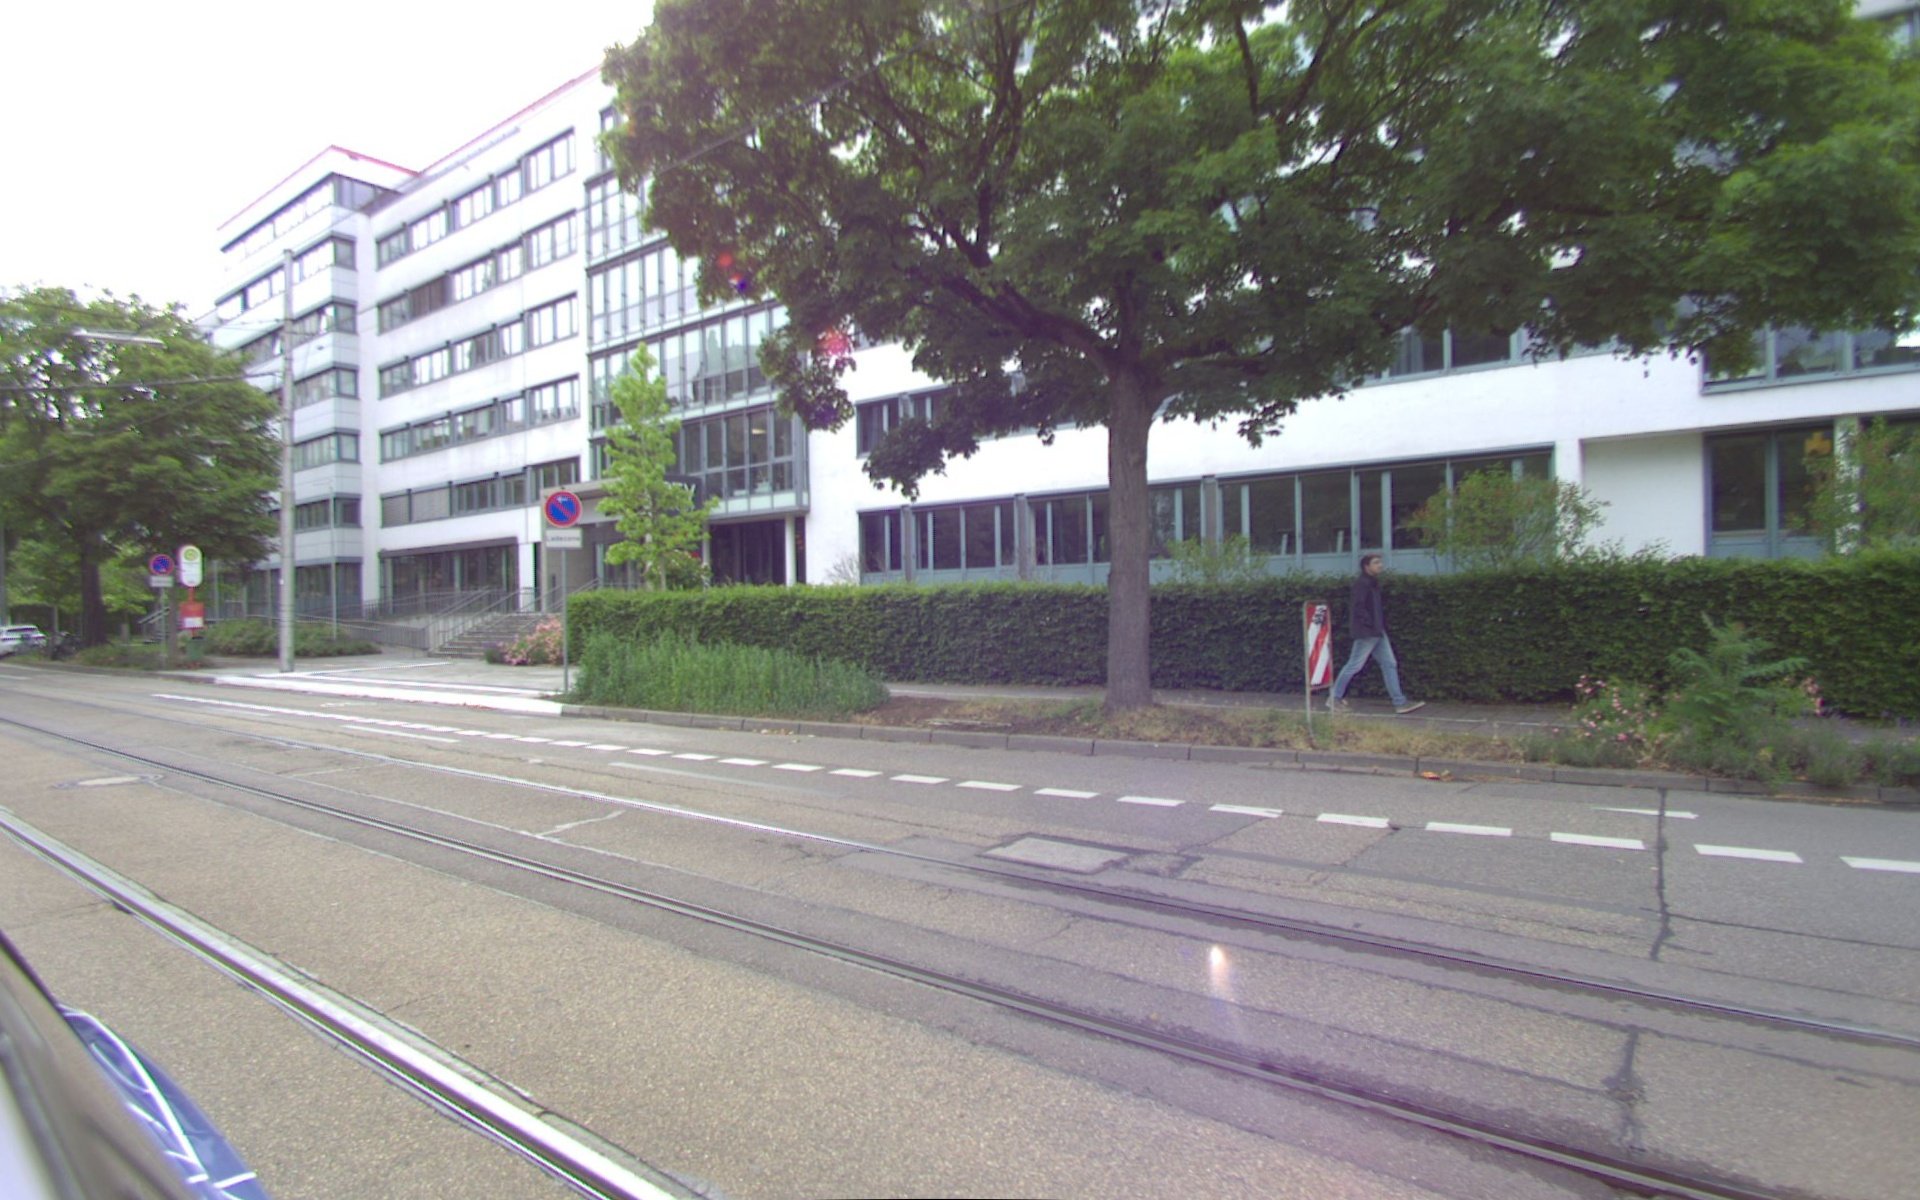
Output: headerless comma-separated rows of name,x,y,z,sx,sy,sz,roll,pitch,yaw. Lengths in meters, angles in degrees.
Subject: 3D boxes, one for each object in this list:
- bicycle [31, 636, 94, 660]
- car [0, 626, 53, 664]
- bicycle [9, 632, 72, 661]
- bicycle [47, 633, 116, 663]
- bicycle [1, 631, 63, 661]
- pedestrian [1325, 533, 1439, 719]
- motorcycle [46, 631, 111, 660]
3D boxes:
bicycle,-35.899,1.918,40.491,0.630,0.906,1.792,0,-1,31
car,-41.383,1.932,44.149,4.746,1.504,1.864,-2,1,38
bicycle,-37.931,1.907,41.769,0.630,1.108,1.792,0,-1,31
bicycle,-32.960,1.797,38.009,0.739,1.061,1.816,-2,-1,29
bicycle,-38.890,1.920,42.423,0.632,1.195,1.844,-1,-2,42
pedestrian,4.849,0.276,11.643,0.991,2.029,0.702,-1,1,45
motorcycle,-34.520,1.768,39.654,0.730,1.058,1.775,-1,0,31
